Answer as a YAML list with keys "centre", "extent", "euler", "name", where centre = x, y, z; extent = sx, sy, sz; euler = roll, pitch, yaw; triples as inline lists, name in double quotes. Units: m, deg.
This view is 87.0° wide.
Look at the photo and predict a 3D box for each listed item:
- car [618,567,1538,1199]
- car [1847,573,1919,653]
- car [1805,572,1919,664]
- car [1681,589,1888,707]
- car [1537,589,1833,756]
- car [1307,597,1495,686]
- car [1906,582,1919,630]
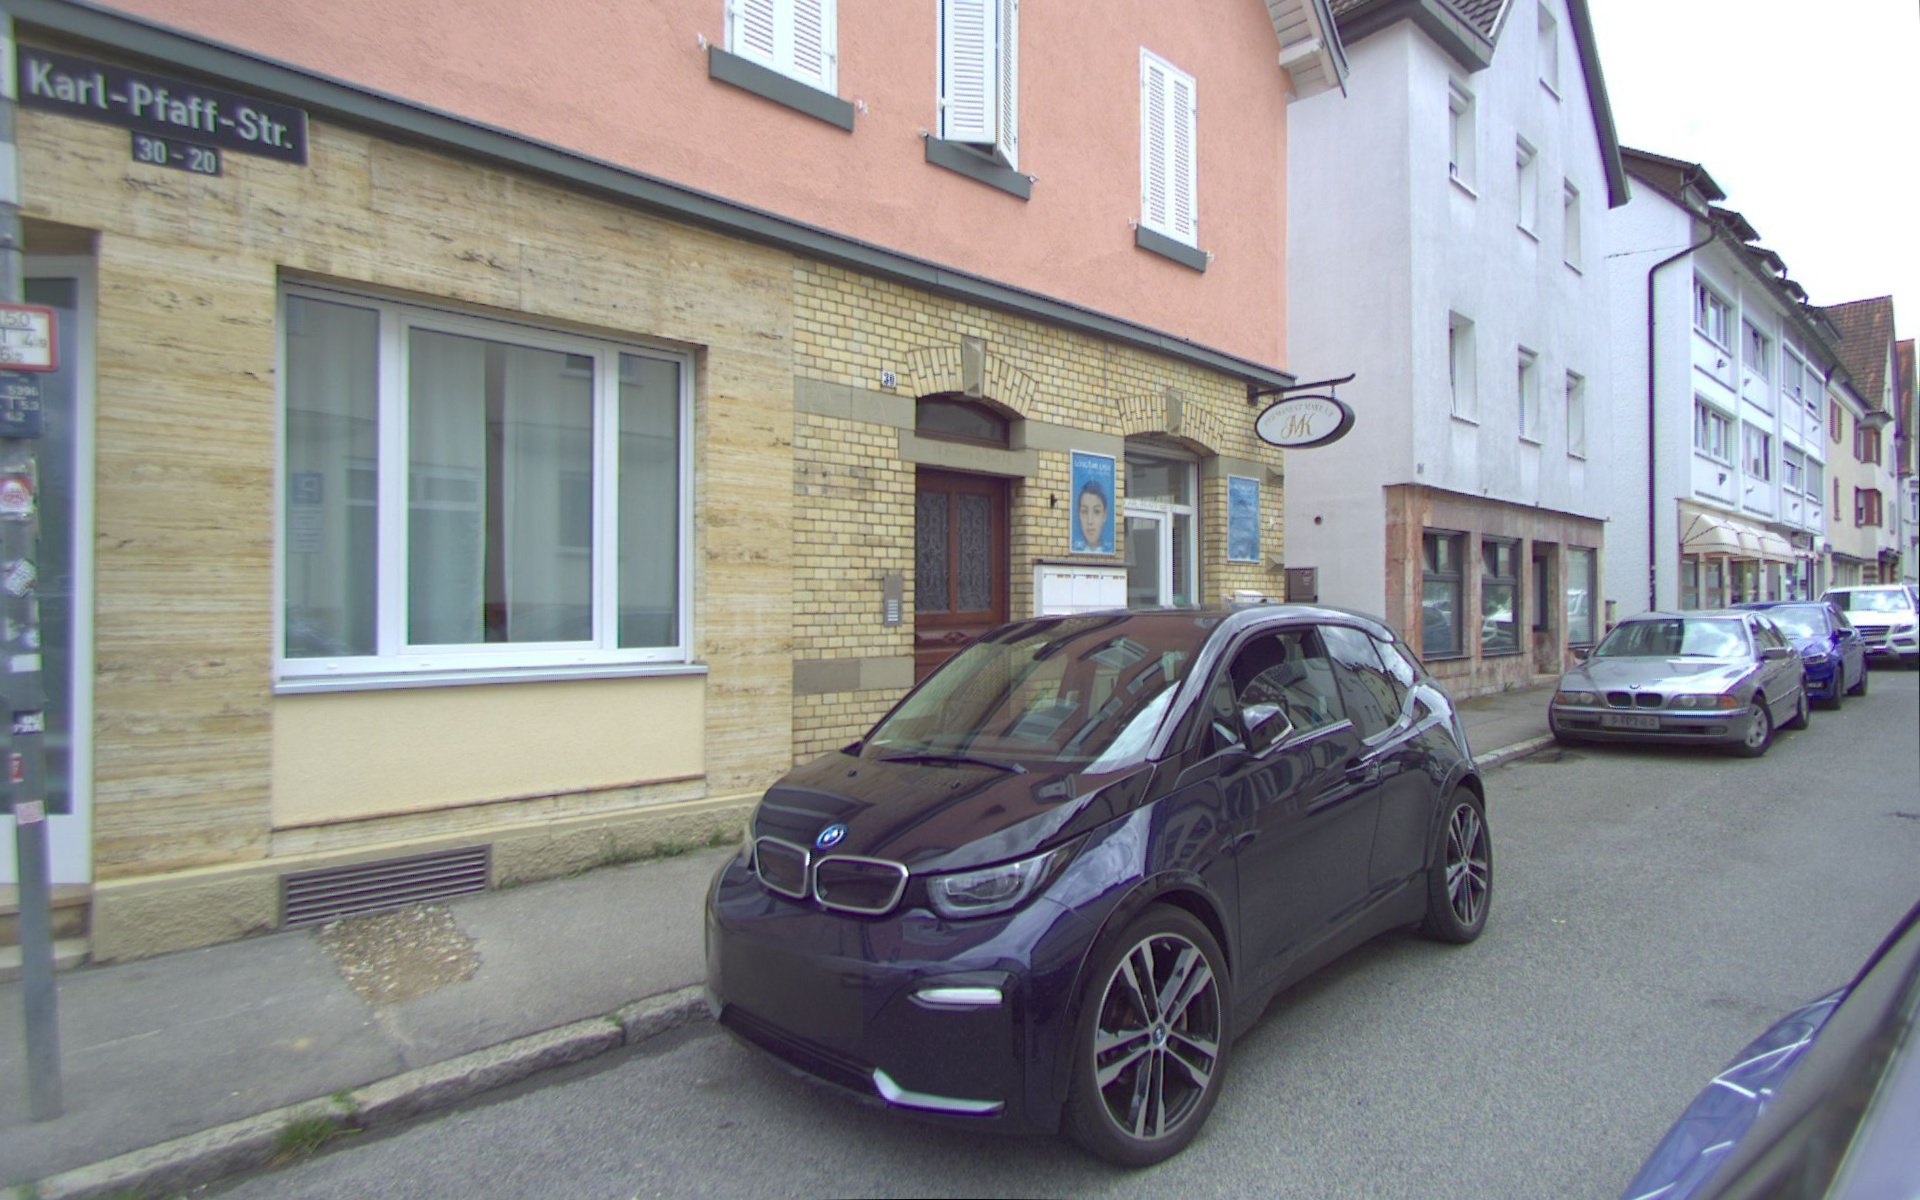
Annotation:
- centre: [0.835, 0.731, 4.328]
  extent: [1.818, 1.563, 3.962]
  euler: [-3, -2, 45]
  name: "car"
- centre: [23.297, 0.254, 24.746]
  extent: [4.270, 1.812, 1.898]
  euler: [-2, 0, -42]
  name: "car"
- centre: [19.356, 0.308, 21.213]
  extent: [4.418, 1.727, 1.898]
  euler: [-2, 0, -42]
  name: "car"
- centre: [12.249, 0.633, 14.955]
  extent: [3.861, 1.450, 1.753]
  euler: [-2, -1, -42]
  name: "car"
- centre: [8.271, 0.691, 11.370]
  extent: [4.502, 1.435, 1.788]
  euler: [-2, -2, -43]
  name: "car"
- centre: [8.561, 0.739, 19.512]
  extent: [3.941, 1.450, 1.646]
  euler: [-2, -1, -39]
  name: "car"
- centre: [33.587, 0.116, 34.345]
  extent: [3.920, 1.548, 1.671]
  euler: [-2, -3, -41]
  name: "car"
